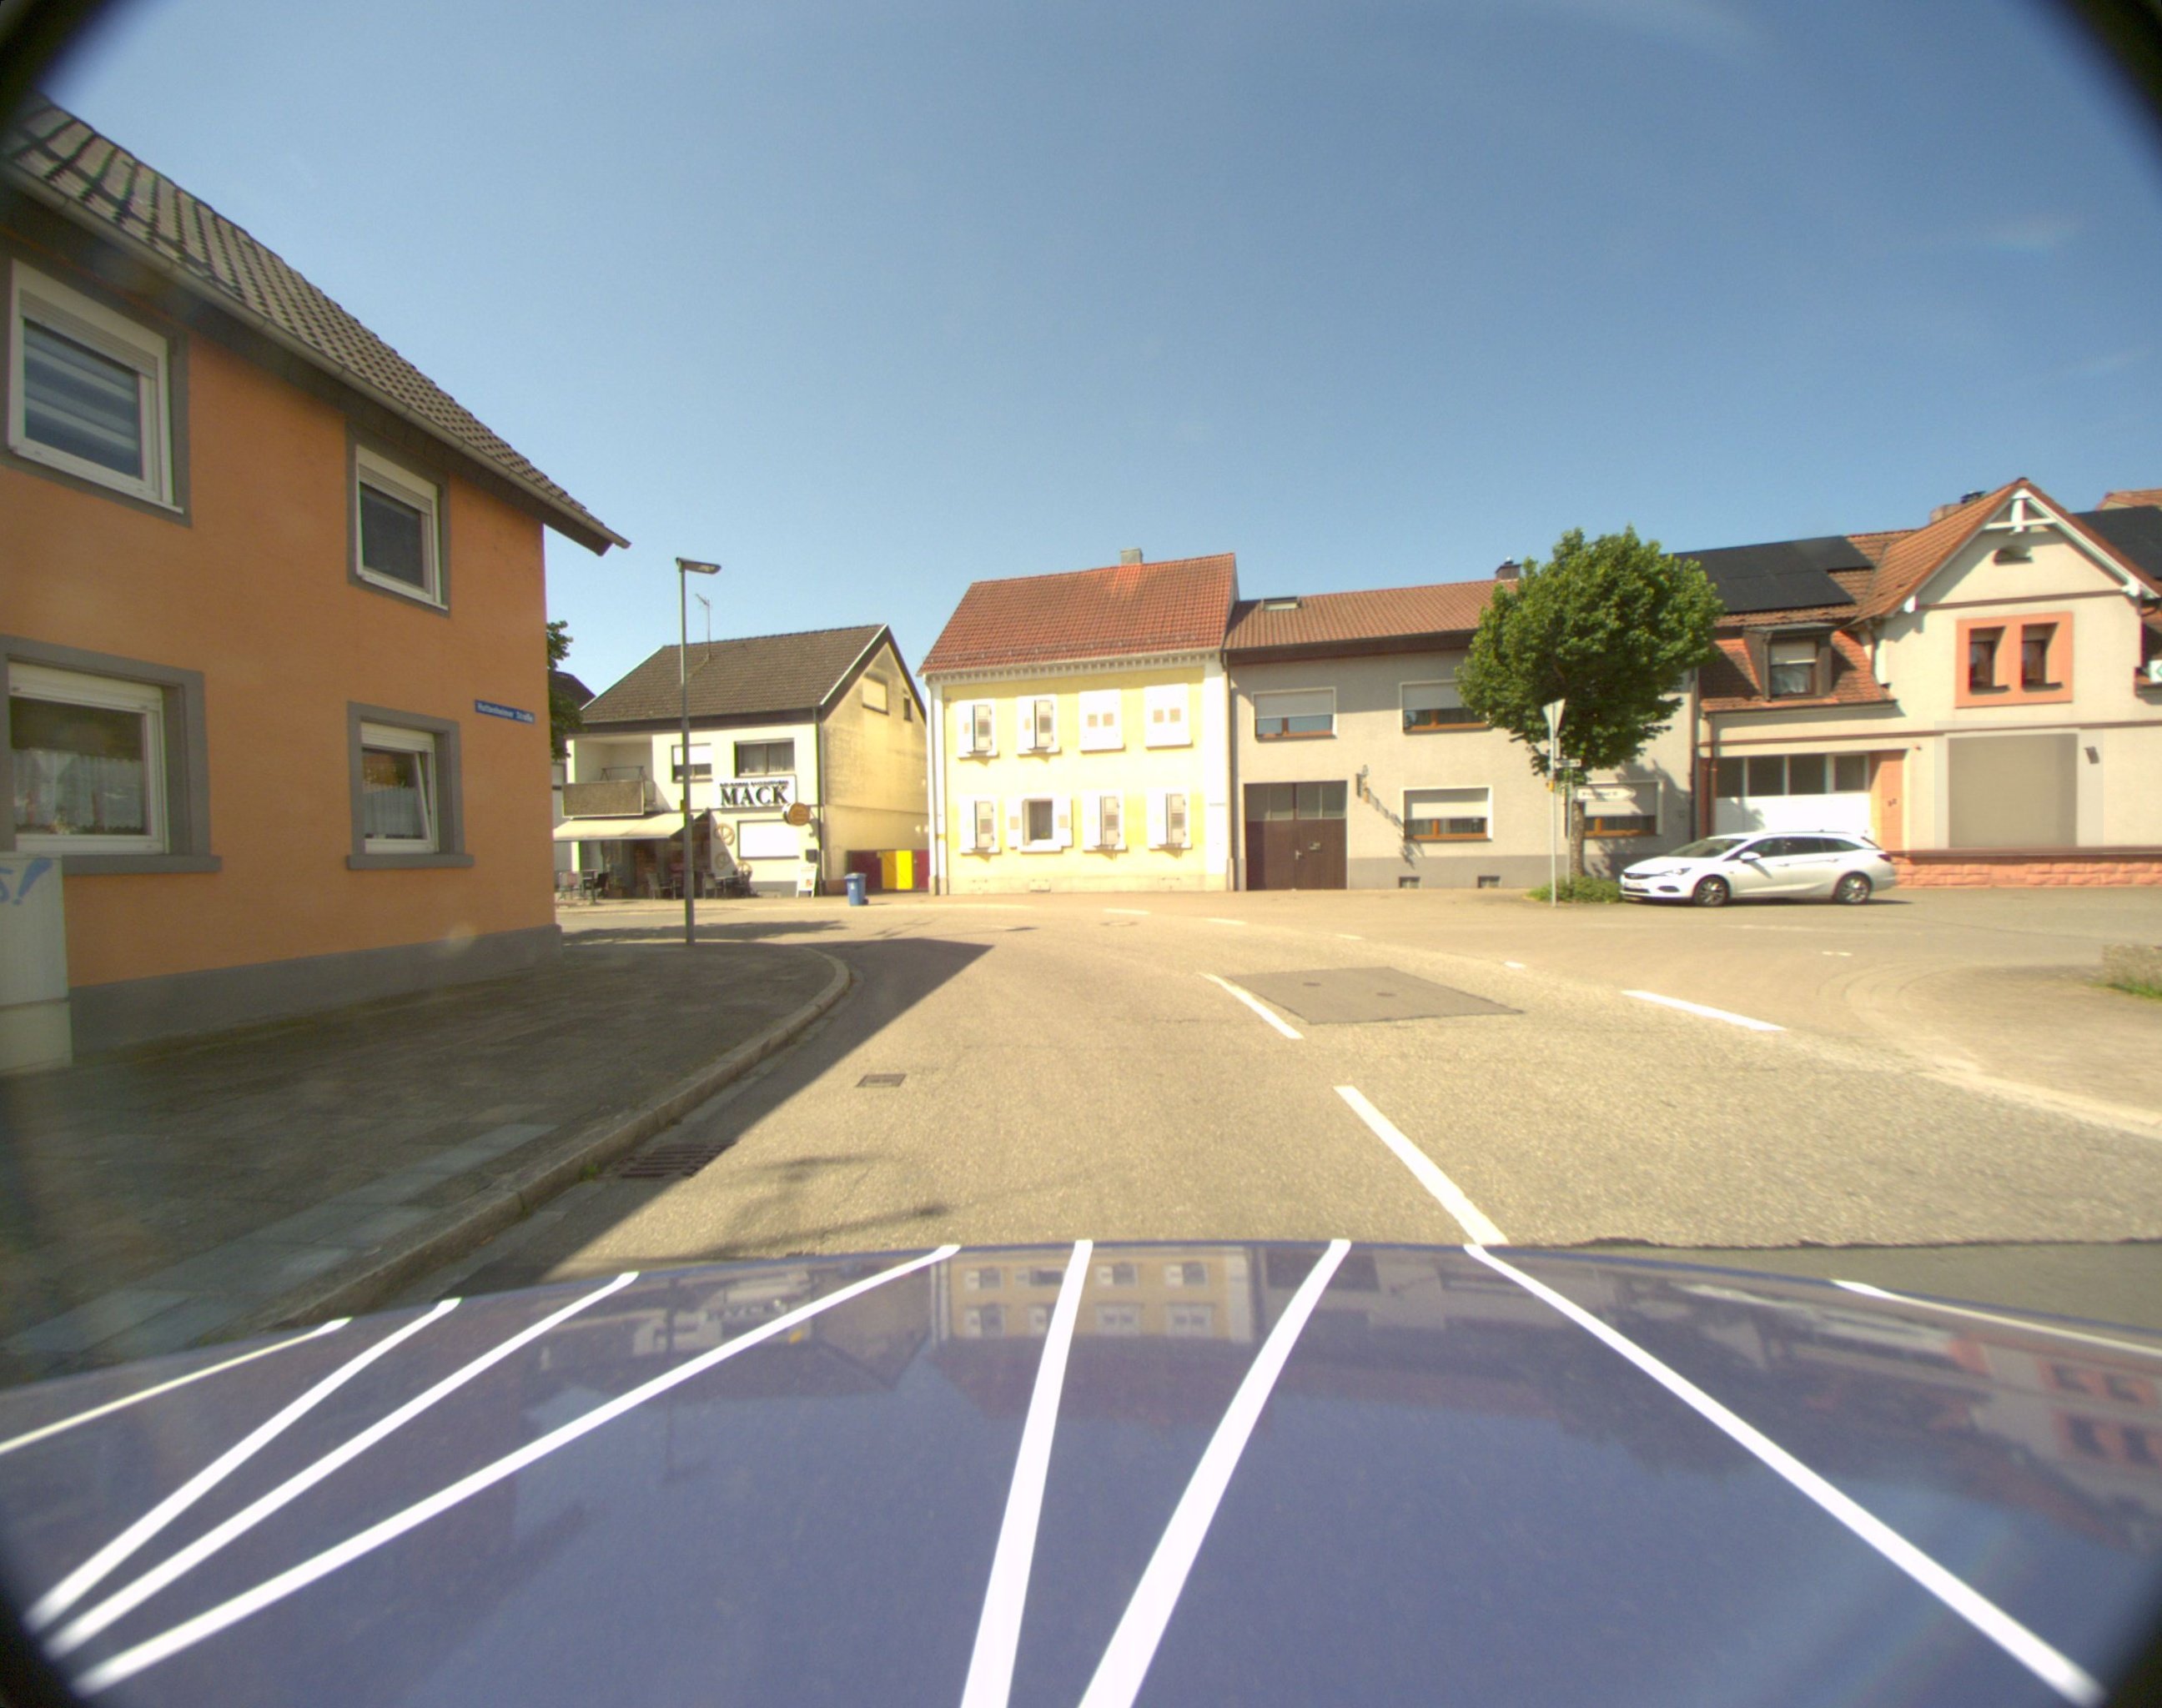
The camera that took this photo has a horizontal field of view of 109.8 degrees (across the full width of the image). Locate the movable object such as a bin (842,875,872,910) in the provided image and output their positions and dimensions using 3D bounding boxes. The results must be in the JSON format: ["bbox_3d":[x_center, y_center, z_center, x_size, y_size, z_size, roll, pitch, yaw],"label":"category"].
[{"bbox_3d":[-6.562,1.128,22.239,0.613,0.975,0.645,-1,1,6],"label":"movable object such as a bin"}]

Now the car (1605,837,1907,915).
[{"bbox_3d":[13.694,0.422,15.637,4.509,1.432,1.855,-1,1,2],"label":"car"}]
